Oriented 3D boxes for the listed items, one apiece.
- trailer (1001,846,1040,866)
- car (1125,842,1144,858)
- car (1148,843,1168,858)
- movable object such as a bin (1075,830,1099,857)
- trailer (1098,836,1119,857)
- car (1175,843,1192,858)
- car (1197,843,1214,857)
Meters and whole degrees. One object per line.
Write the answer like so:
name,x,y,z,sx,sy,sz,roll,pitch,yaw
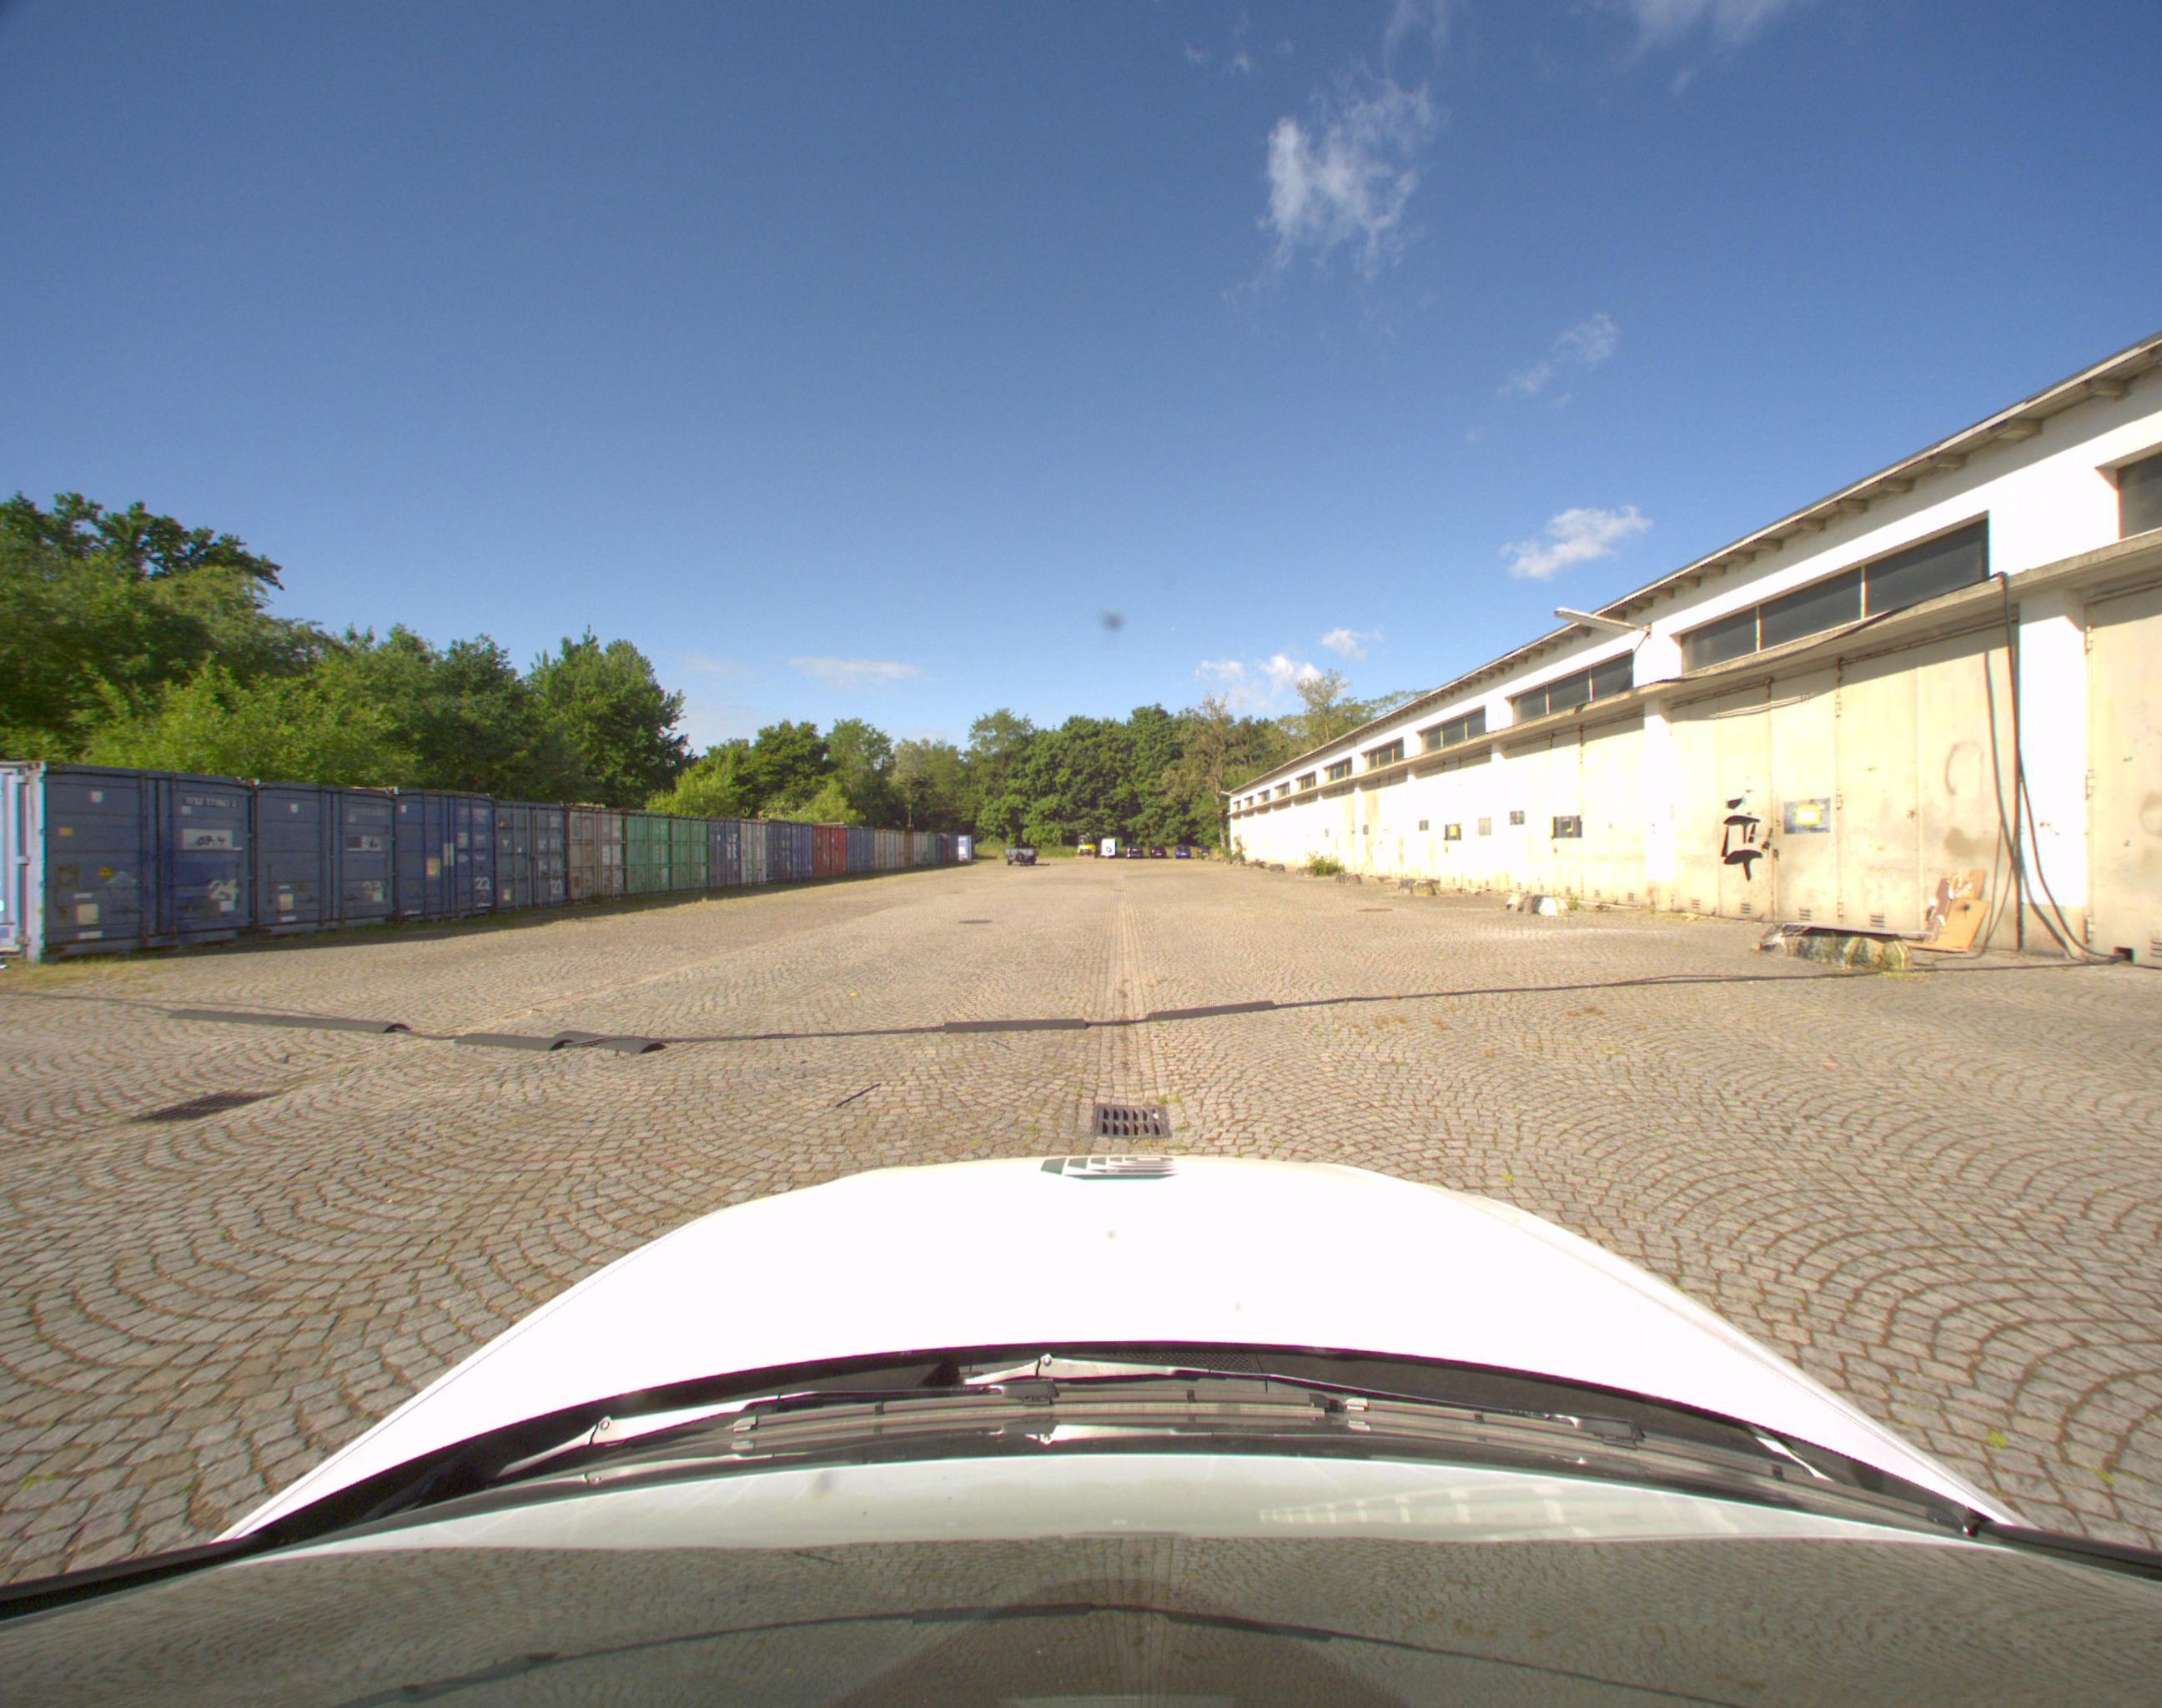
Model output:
trailer,-5.057,0.107,68.720,2.696,1.465,6.249,1,1,1
car,5.643,-0.456,86.081,1.856,1.589,4.299,1,2,2
car,8.140,-0.392,86.363,1.856,1.470,4.299,1,2,2
movable object such as a bin,0.712,-1.208,89.221,2.296,2.896,5.757,1,2,3
trailer,3.058,-0.831,88.549,2.184,2.094,5.755,1,2,2
car,10.893,-0.373,86.207,1.734,1.436,4.193,1,2,8
car,13.401,-0.455,87.530,1.734,1.436,4.195,1,2,9
